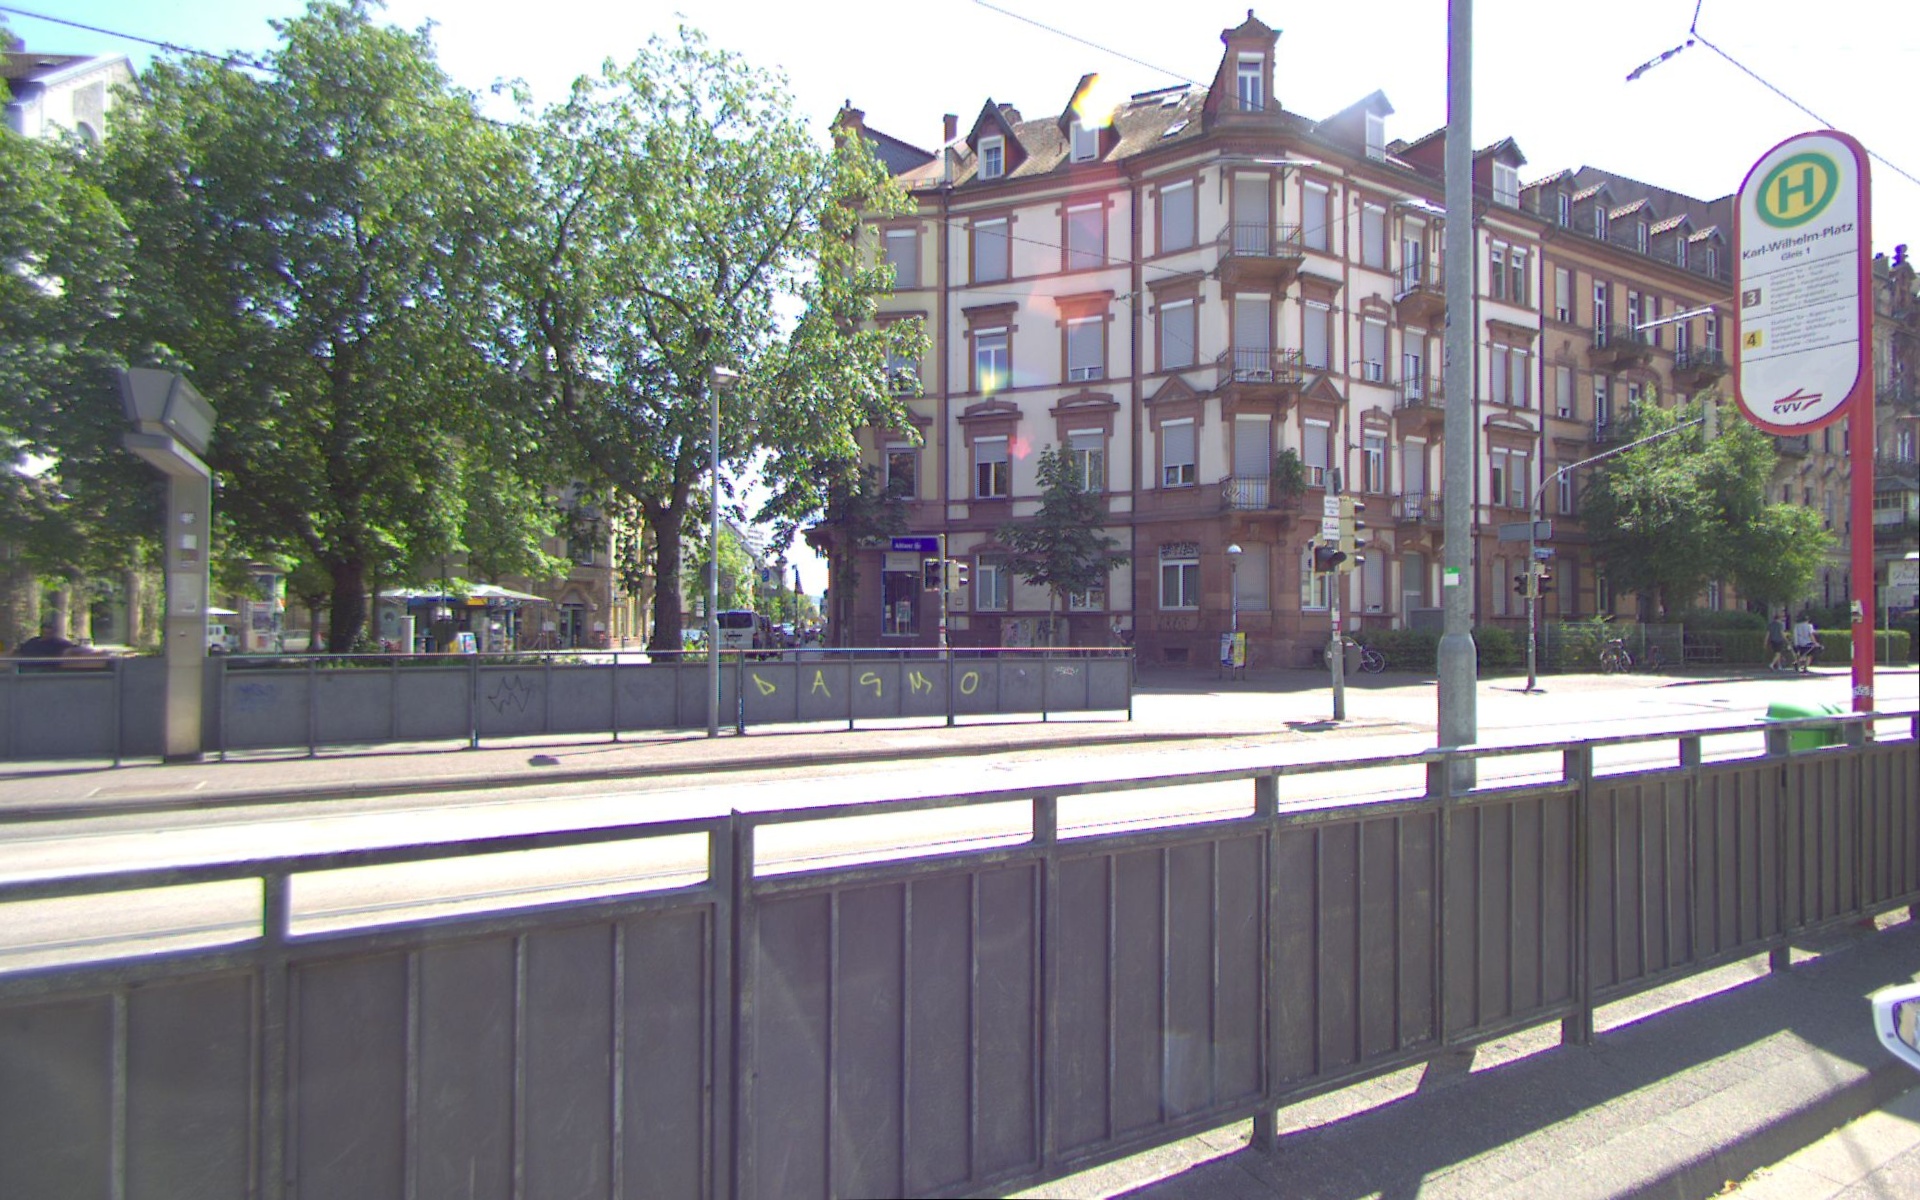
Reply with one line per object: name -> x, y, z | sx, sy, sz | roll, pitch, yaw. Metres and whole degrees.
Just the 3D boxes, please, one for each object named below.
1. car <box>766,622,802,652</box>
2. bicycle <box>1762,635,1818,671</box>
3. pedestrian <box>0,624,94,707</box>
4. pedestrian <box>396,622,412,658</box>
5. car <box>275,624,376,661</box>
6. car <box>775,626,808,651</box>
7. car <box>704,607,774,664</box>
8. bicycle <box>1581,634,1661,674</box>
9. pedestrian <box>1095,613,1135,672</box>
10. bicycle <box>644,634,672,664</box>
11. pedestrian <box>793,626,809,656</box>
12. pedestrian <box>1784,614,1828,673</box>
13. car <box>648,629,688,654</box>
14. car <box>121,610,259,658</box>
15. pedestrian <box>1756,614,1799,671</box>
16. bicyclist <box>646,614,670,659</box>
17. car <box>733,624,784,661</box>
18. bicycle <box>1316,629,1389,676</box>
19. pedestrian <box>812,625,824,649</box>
car -> -10.380, 2.169, 59.455 | 1.684, 1.617, 3.998 | 2, 0, -4
bicycle -> 28.517, 1.799, 34.487 | 2.750, 1.151, 0.930 | 2, 0, -39
pedestrian -> -14.667, 1.039, 16.106 | 0.925, 1.261, 0.860 | 2, 0, -24
pedestrian -> -26.622, 1.918, 48.098 | 0.506, 1.692, 0.491 | 0, -1, -8
car -> -32.083, 2.151, 50.892 | 3.920, 1.730, 1.761 | 2, 0, -14
car -> -12.490, 2.835, 74.759 | 1.962, 1.617, 3.998 | 2, 0, -4
car -> -8.335, 1.293, 38.218 | 1.962, 1.970, 3.998 | 2, 0, -4
bicycle -> 20.221, 1.641, 30.717 | 2.742, 1.151, 0.932 | 2, 0, -31
pedestrian -> 4.631, 1.266, 29.987 | 1.041, 1.712, 0.722 | -1, -1, 23
bicycle -> -11.123, 1.797, 37.038 | 0.687, 1.070, 1.764 | 1, -1, -8
pedestrian -> -8.749, 2.225, 55.181 | 0.790, 1.632, 0.731 | 0, -1, -4
pedestrian -> 27.222, 1.382, 32.311 | 0.863, 1.847, 0.812 | 0, 1, -30
car -> -20.666, 2.908, 71.165 | 1.846, 1.617, 3.998 | 2, 0, -4
car -> -31.196, 1.359, 40.817 | 3.932, 1.814, 1.994 | 2, 0, -14
pedestrian -> 26.800, 1.378, 32.943 | 0.863, 1.847, 0.812 | 0, 1, -30
bicyclist -> -11.128, 1.344, 37.058 | 0.687, 1.613, 0.848 | 1, -1, -8
car -> -9.632, 2.004, 48.290 | 1.893, 1.541, 3.998 | 2, 0, -4
bicycle -> 11.658, 1.553, 29.864 | 1.923, 1.312, 0.564 | 2, 0, 11
pedestrian -> -9.526, 2.469, 67.625 | 0.742, 1.632, 0.688 | 0, -1, -4
